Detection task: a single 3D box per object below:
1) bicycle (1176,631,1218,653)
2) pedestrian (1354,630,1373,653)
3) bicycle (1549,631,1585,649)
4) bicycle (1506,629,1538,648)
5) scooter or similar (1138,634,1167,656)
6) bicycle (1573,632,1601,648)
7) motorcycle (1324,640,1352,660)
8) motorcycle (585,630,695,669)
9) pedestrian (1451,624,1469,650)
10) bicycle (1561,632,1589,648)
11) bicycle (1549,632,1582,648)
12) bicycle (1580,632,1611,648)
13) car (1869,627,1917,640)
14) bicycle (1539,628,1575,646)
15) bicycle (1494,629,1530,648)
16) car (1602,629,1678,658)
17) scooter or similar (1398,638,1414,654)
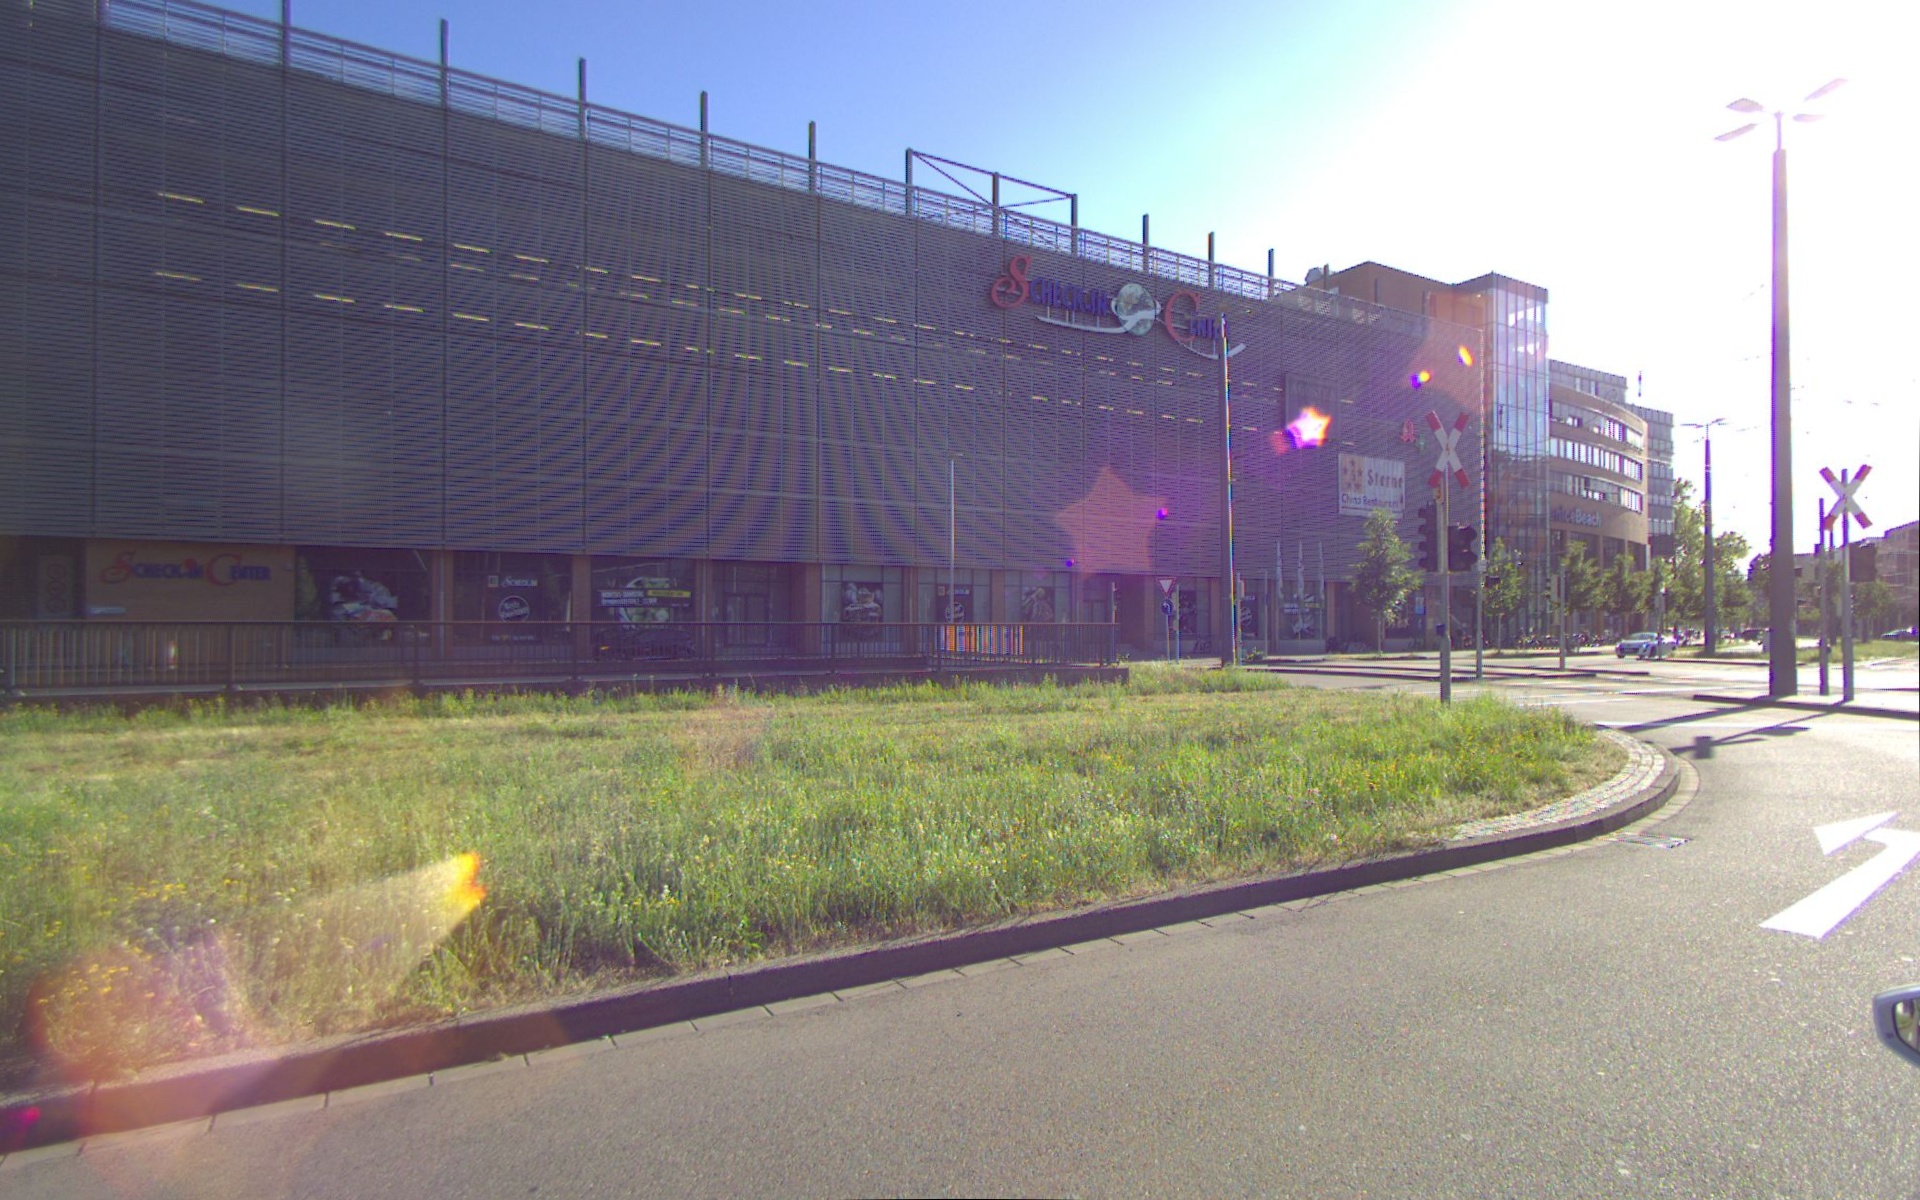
[{"bbox_3d":[13.550,2.394,57.439,2.384,1.237,0.797,1,-1,-27],"label":"bicycle"},{"bbox_3d":[27.877,2.866,69.412,0.819,1.586,0.983,2,-3,-30],"label":"pedestrian"},{"bbox_3d":[50.165,3.308,83.036,0.891,1.452,2.558,1,-2,-21],"label":"bicycle"},{"bbox_3d":[44.263,3.042,79.136,0.848,1.452,2.080,1,-2,-21],"label":"bicycle"},{"bbox_3d":[11.148,2.593,58.137,1.555,1.222,0.790,2,-3,-30],"label":"scooter or similar"},{"bbox_3d":[57.372,3.646,91.944,0.747,1.452,2.135,1,-2,-21],"label":"bicycle"},{"bbox_3d":[24.148,3.165,64.113,1.872,1.255,0.672,2,-3,-31],"label":"motorcycle"},{"bbox_3d":[-12.996,1.990,40.845,3.953,1.472,1.984,1,-1,-30],"label":"motorcycle"},{"bbox_3d":[36.238,2.676,72.834,0.894,1.848,0.823,2,-3,-29],"label":"pedestrian"},{"bbox_3d":[55.547,3.597,90.759,0.707,1.452,2.242,1,-2,-21],"label":"bicycle"},{"bbox_3d":[53.908,3.546,89.398,0.760,1.452,2.603,1,-2,-21],"label":"bicycle"},{"bbox_3d":[58.432,3.647,92.426,0.777,1.452,2.417,1,-2,-21],"label":"bicycle"},{"bbox_3d":[124.324,4.407,133.846,4.334,1.661,1.996,0,-2,31],"label":"car"},{"bbox_3d":[48.453,2.990,81.553,0.891,1.452,2.558,1,-2,-21],"label":"bicycle"},{"bbox_3d":[43.271,3.043,78.738,1.060,1.452,2.366,1,-2,-21],"label":"bicycle"},{"bbox_3d":[38.417,2.436,56.710,4.481,1.566,1.982,1,-1,-33],"label":"car"},{"bbox_3d":[31.057,3.198,69.884,1.138,1.124,0.419,2,-3,-30],"label":"scooter or similar"}]
